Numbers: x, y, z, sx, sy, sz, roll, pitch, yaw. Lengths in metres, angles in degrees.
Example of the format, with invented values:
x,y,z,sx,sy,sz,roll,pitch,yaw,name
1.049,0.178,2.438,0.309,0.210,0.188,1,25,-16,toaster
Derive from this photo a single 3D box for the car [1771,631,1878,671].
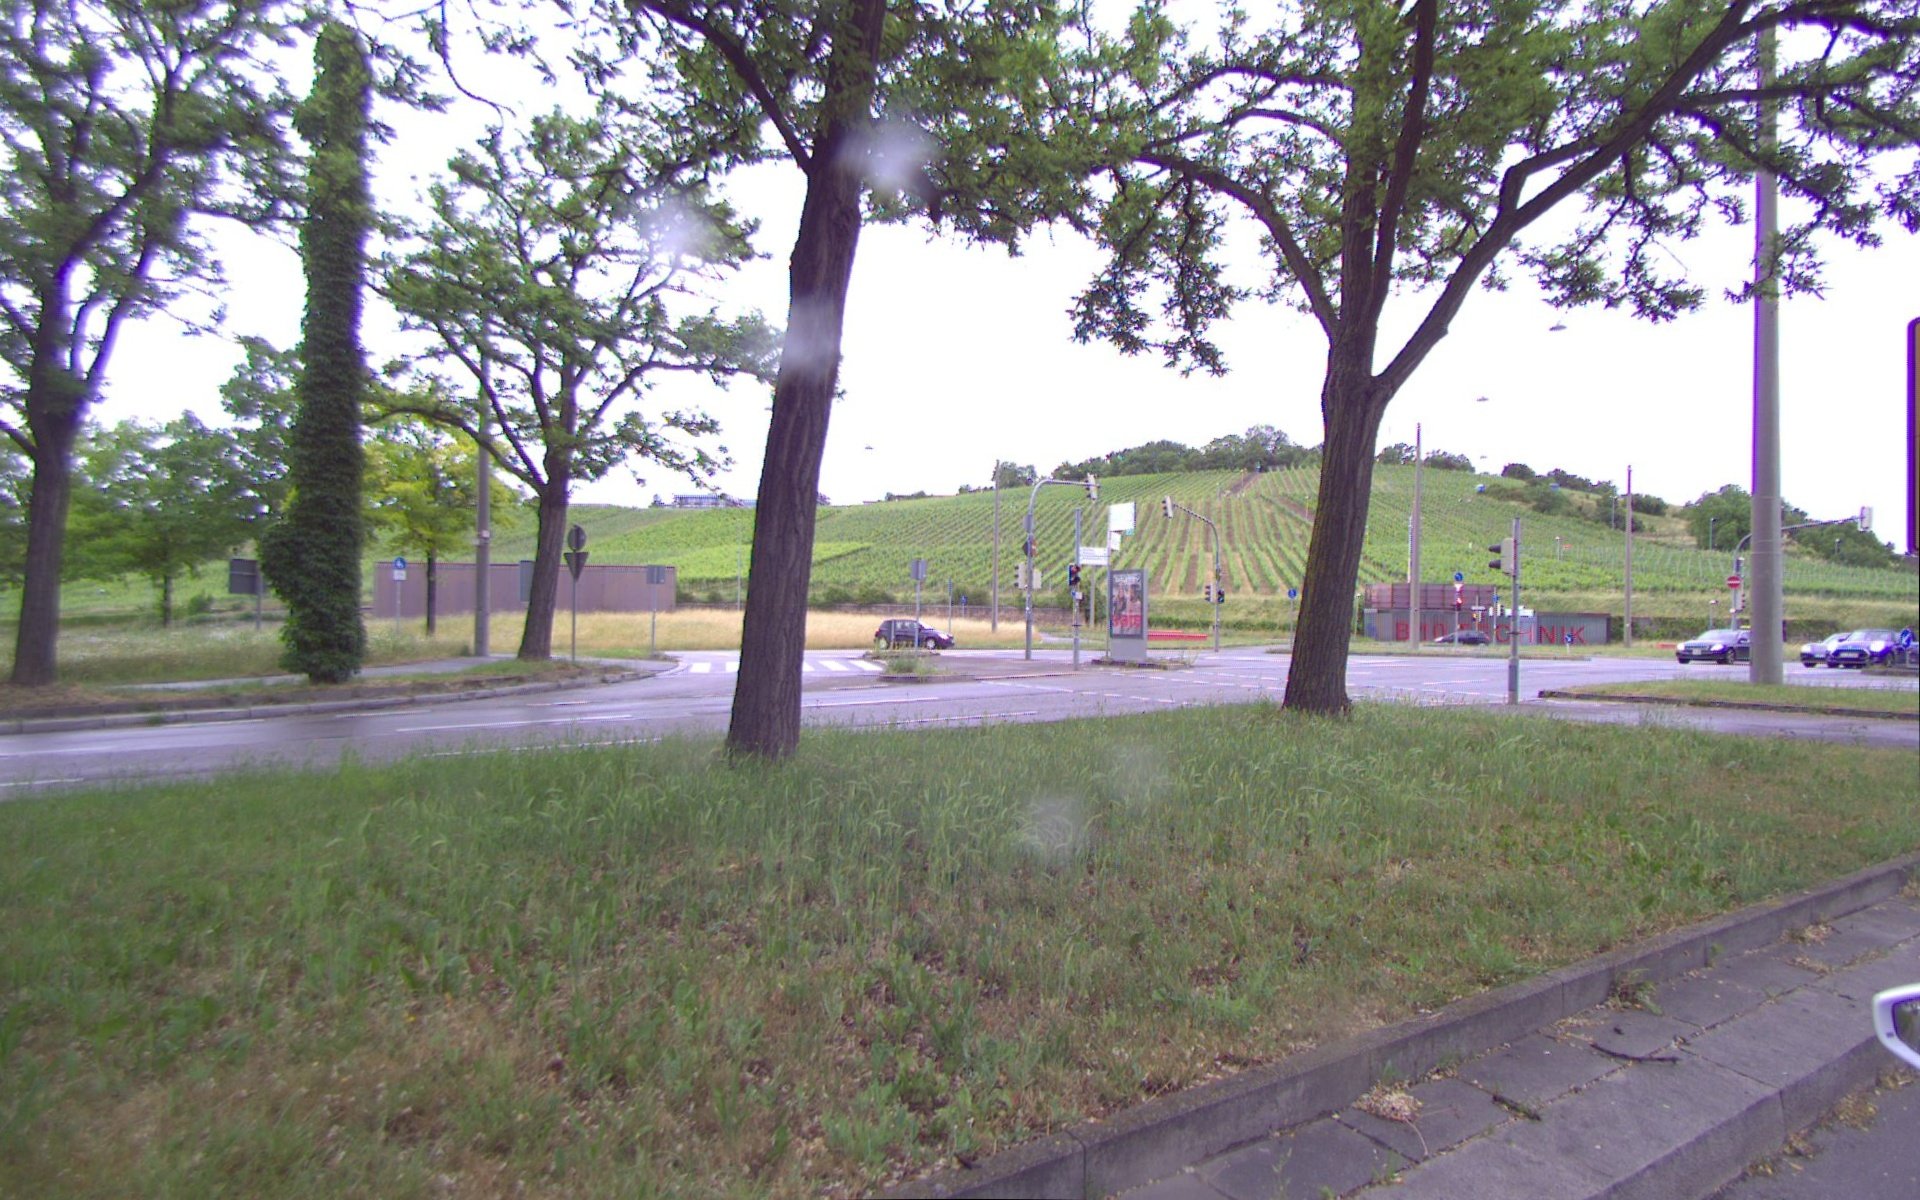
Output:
x,y,z,sx,sy,sz,roll,pitch,yaw,name
34.539,2.045,40.130,3.829,1.414,1.781,2,1,-25,car

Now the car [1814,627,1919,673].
x,y,z,sx,sy,sz,roll,pitch,yaw,name
31.810,1.747,34.979,3.832,1.414,1.780,3,0,-27,car

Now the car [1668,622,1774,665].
x,y,z,sx,sy,sz,roll,pitch,yaw,name
31.613,1.816,41.718,4.511,1.645,1.821,2,1,-29,car

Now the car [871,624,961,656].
x,y,z,sx,sy,sz,roll,pitch,yaw,name
-2.105,1.892,48.177,3.922,1.307,1.799,2,1,21,car
